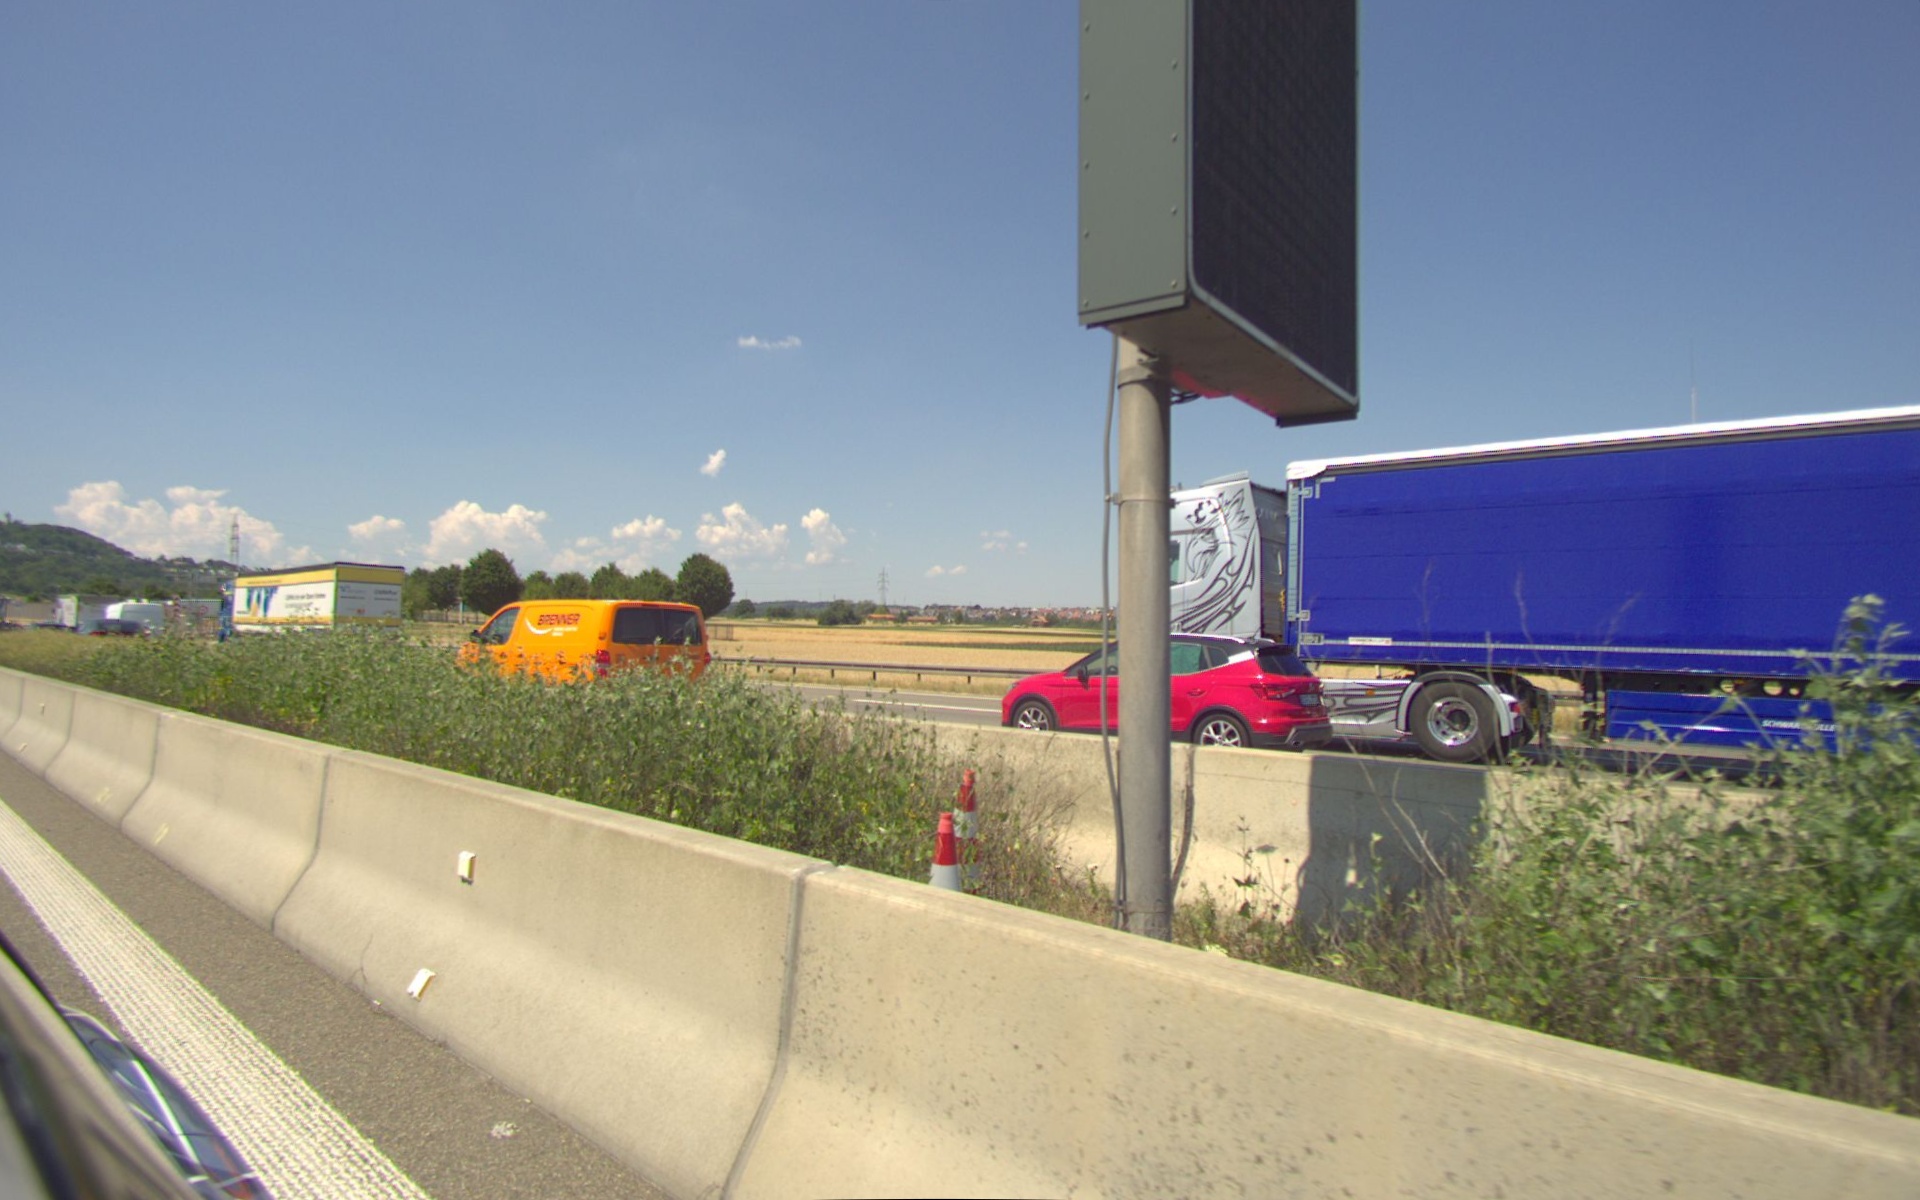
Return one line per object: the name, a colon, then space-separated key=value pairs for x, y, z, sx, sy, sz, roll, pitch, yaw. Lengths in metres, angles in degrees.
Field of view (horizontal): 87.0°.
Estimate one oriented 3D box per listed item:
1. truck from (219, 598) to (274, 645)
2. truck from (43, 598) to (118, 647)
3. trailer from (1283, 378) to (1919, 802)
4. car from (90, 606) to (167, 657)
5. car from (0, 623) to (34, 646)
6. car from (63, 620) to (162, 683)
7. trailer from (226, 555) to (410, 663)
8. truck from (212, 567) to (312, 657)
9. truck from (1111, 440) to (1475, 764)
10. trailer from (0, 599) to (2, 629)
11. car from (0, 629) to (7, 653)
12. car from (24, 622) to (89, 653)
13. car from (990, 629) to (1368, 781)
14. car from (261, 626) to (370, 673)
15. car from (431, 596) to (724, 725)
truck: x=-63.708 y=2.016 z=90.232 sx=2.862 sy=3.806 sz=13.311 roll=5 pitch=-4 yaw=-39
truck: x=-72.054 y=1.857 z=82.804 sx=13.283 sy=3.637 sz=2.765 roll=-1 pitch=-4 yaw=42
trailer: x=10.548 y=-0.081 z=10.296 sx=14.091 sy=4.118 sz=2.361 roll=-2 pitch=-3 yaw=42
car: x=-43.069 y=1.640 z=52.365 sx=5.808 sy=2.520 sz=2.025 roll=-2 pitch=-3 yaw=41
car: x=-73.850 y=2.682 z=78.686 sx=5.517 sy=1.723 sz=1.867 roll=-1 pitch=-4 yaw=40
car: x=-29.362 y=1.728 z=35.001 sx=4.684 sy=2.029 sz=1.972 roll=-2 pitch=-2 yaw=42
trailer: x=-28.655 y=0.532 z=44.673 sx=14.120 sy=4.160 sz=2.781 roll=-2 pitch=-3 yaw=41
truck: x=-34.025 y=0.642 z=49.317 sx=4.838 sy=4.160 sz=2.781 roll=-2 pitch=-3 yaw=41
truck: x=4.903 y=0.092 z=15.287 sx=4.657 sy=4.118 sz=2.386 roll=-2 pitch=-3 yaw=41
trailer: x=-122.585 y=2.092 z=126.394 sx=12.986 sy=4.408 sz=2.862 roll=-1 pitch=-4 yaw=41
car: x=-61.406 y=2.547 z=63.722 sx=4.530 sy=1.480 sz=1.581 roll=-2 pitch=-3 yaw=41
car: x=-43.966 y=1.793 z=49.221 sx=4.926 sy=1.345 sz=1.761 roll=0 pitch=0 yaw=41
car: x=2.480 y=1.118 z=12.176 sx=4.227 sy=1.519 sz=1.571 roll=-2 pitch=-3 yaw=42
car: x=-20.504 y=1.529 z=32.135 sx=4.431 sy=1.276 sz=1.729 roll=0 pitch=0 yaw=41
car: x=-5.718 y=0.789 z=14.771 sx=4.933 sy=1.590 sz=1.875 roll=-1 pitch=-1 yaw=41
